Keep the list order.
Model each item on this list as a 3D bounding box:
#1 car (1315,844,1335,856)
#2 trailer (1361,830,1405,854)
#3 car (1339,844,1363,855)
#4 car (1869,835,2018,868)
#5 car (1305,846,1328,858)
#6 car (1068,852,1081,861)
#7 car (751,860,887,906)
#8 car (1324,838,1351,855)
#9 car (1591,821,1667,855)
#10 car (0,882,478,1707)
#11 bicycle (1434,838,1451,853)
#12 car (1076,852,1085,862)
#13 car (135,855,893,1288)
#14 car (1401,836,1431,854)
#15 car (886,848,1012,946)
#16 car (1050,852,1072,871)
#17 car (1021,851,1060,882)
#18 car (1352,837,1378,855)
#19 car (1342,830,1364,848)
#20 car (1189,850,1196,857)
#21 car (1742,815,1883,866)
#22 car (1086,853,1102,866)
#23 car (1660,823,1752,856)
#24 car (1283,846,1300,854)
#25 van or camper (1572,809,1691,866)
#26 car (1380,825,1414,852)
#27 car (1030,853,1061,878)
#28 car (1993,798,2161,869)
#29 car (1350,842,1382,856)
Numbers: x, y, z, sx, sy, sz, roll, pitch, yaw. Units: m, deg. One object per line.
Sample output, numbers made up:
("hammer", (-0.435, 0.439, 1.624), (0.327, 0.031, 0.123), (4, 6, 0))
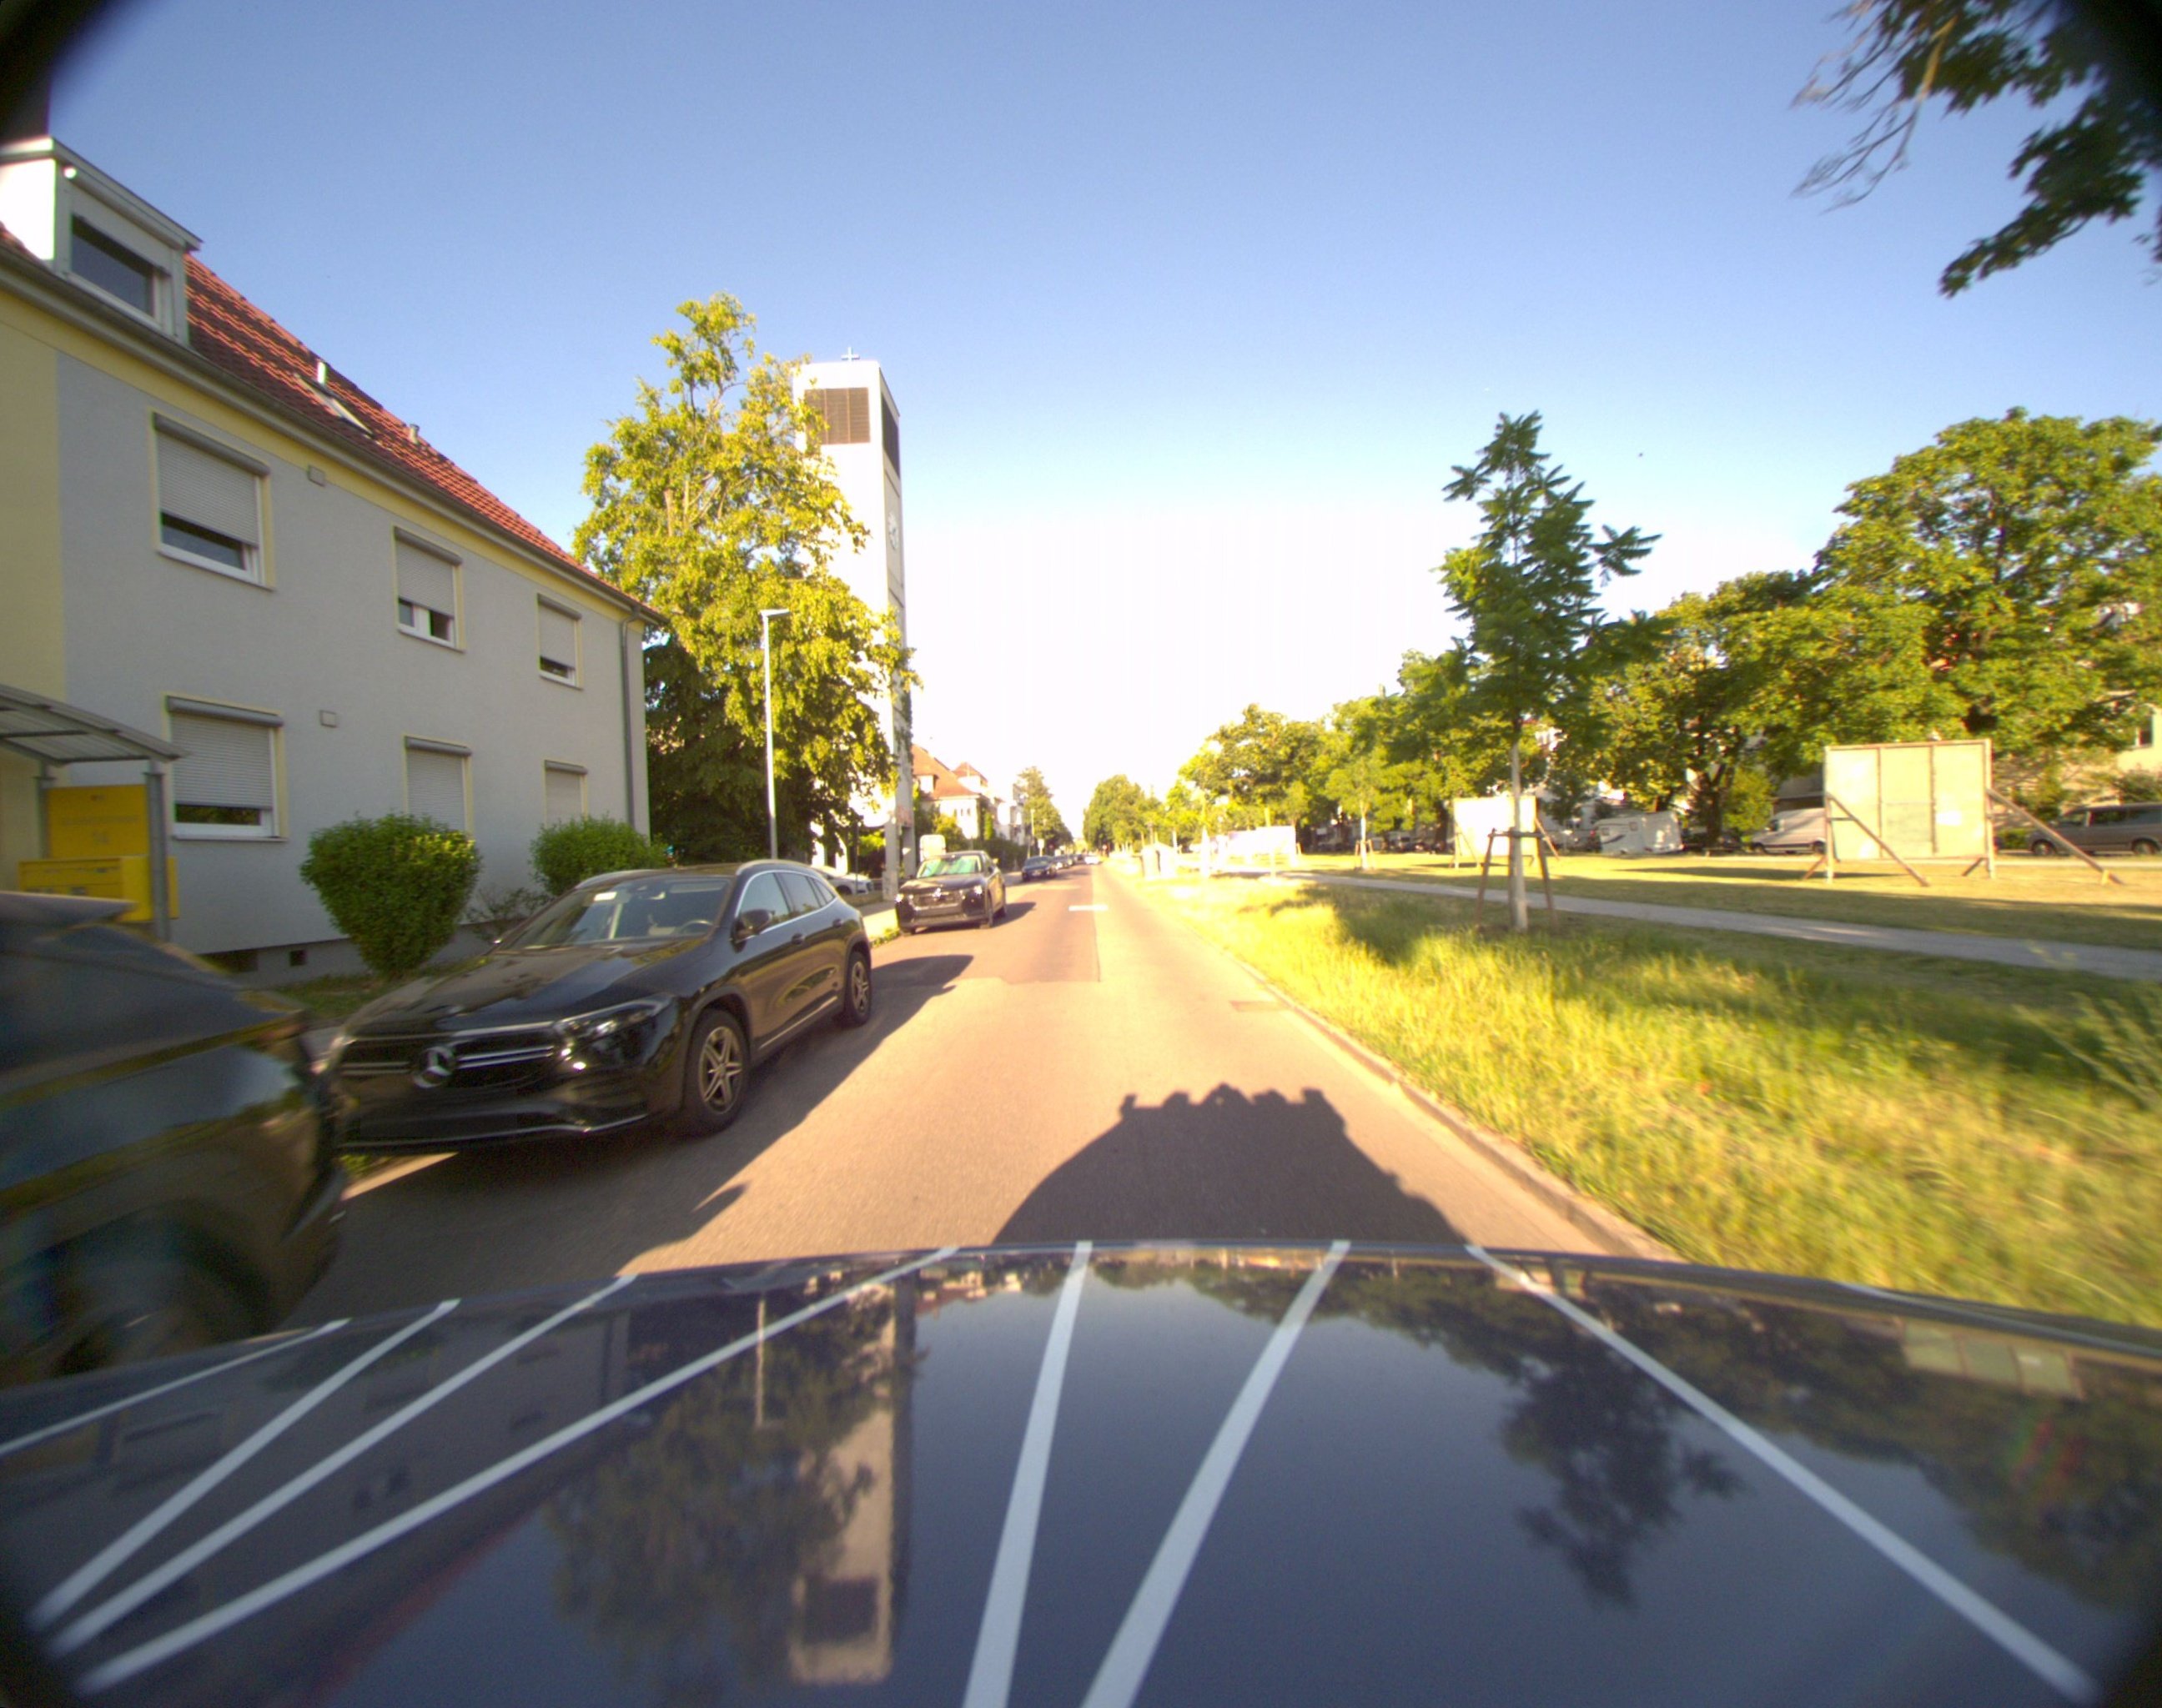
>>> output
("car", (41.667, -0.683, 129.830), (1.624, 1.814, 4.287), (-2, 0, -3))
("trailer", (35.164, -1.427, 88.657), (2.479, 2.644, 6.635), (1, 1, 0))
("car", (35.387, -0.613, 99.775), (1.857, 1.308, 4.042), (-3, 1, 4))
("car", (40.571, -0.155, 35.933), (1.998, 1.395, 4.562), (2, 1, 5))
("car", (35.752, -0.334, 115.404), (1.998, 1.718, 4.344), (-2, 0, 0))
("car", (-1.132, 0.474, 142.632), (2.111, 1.396, 4.132), (-7, 0, 1))
("car", (-10.842, 1.176, 31.675), (4.859, 1.478, 2.001), (-3, 4, 0))
("car", (35.490, -1.002, 105.354), (1.999, 2.161, 4.571), (-2, 0, -1))
("car", (34.594, -0.954, 48.114), (1.998, 2.002, 4.000), (-2, 0, 2))
("car", (-3.070, 0.968, 0.170), (1.858, 1.647, 4.820), (-3, 0, 1))
("bicycle", (31.899, -0.751, 67.066), (0.512, 1.334, 2.331), (-2, 0, 4))
("car", (-0.053, 0.690, 179.286), (1.998, 2.179, 4.001), (-2, 0, 2))
("car", (-3.015, 0.946, 5.590), (1.938, 1.710, 4.621), (-5, 0, 1))
("car", (40.787, -1.063, 92.644), (1.998, 2.142, 4.000), (-2, 0, 2))
("car", (-2.797, 0.821, 17.315), (1.837, 1.722, 5.031), (-4, 1, 1))
("car", (-2.021, 0.736, 78.088), (1.999, 1.588, 4.885), (-6, 1, 0))
("car", (-2.388, 0.733, 45.932), (1.827, 1.552, 4.622), (-8, 0, 2))
("car", (41.472, -1.206, 111.132), (1.950, 2.625, 5.043), (1, 1, 1))
("car", (41.469, -2.328, 115.948), (1.998, 2.527, 3.999), (-2, 2, 1))
("car", (38.092, -0.175, 258.952), (1.998, 2.002, 4.001), (-2, 0, 3))
("car", (40.964, -0.774, 42.856), (1.998, 2.583, 6.089), (1, 1, 1))
("car", (1.750, 0.724, 102.696), (1.998, 1.483, 4.000), (-2, 1, 1))
("car", (40.807, -0.923, 49.807), (1.974, 1.993, 5.050), (-2, 0, 2))
("car", (42.062, -0.809, 151.919), (1.999, 1.490, 3.999), (-2, 0, -3))
("van or camper", (34.594, -0.954, 48.114), (2.648, 3.243, 6.905), (-2, 0, 2))
("car", (41.171, -1.984, 99.158), (1.998, 3.230, 6.075), (-2, 0, 1))
("car", (-2.398, 0.768, 52.644), (1.691, 1.519, 4.175), (-6, -1, 1))
("car", (40.273, -0.761, 29.911), (2.141, 2.589, 5.324), (1, 1, -1))
("car", (35.411, -0.667, 94.515), (1.999, 1.632, 4.950), (-3, 1, -1))
